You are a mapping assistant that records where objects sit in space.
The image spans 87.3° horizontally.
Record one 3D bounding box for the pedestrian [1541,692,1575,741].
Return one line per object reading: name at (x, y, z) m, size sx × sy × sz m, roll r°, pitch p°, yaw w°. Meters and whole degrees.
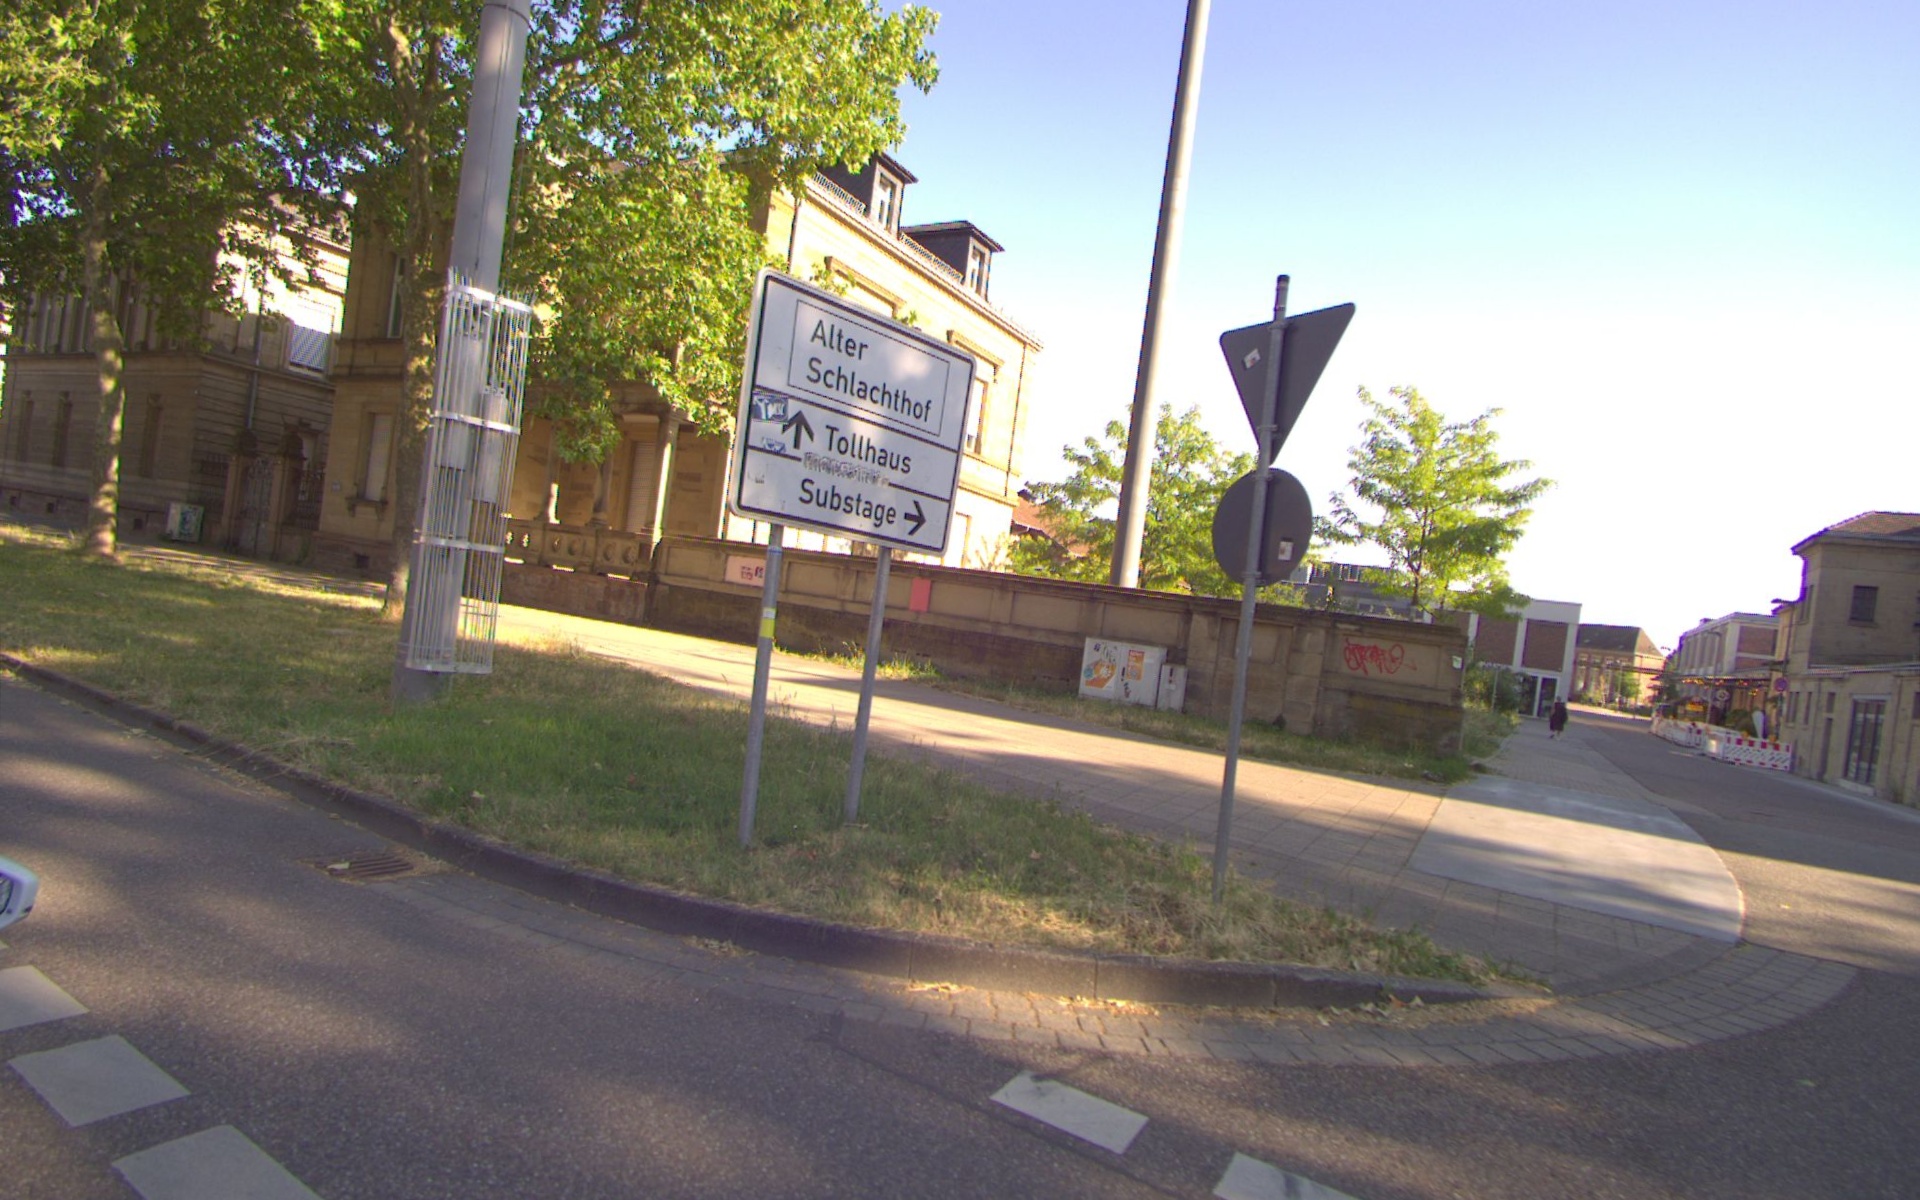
pedestrian at (21.753, 4.237, 36.601) m, size 0.778 × 1.647 × 1.079 m, roll 5°, pitch -6°, yaw 20°
